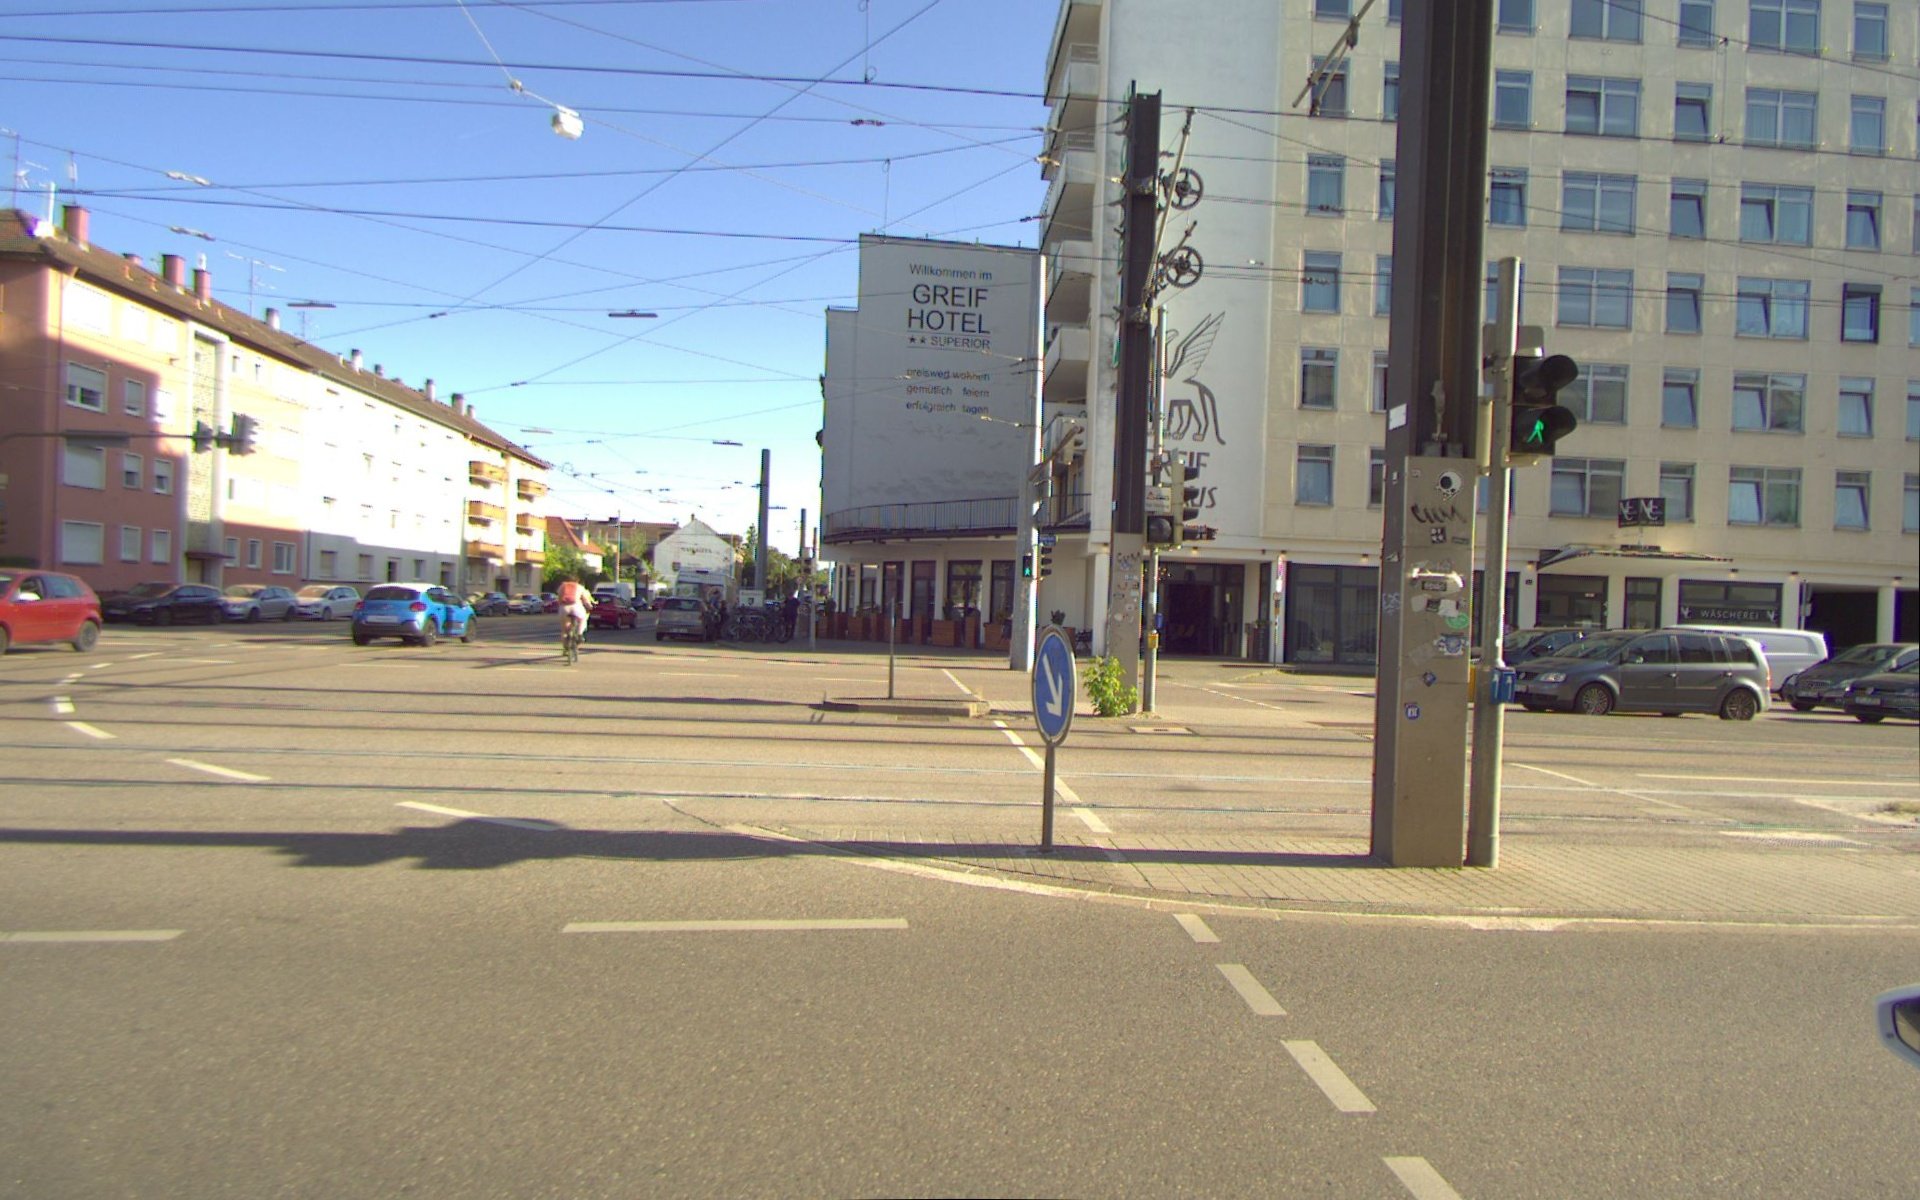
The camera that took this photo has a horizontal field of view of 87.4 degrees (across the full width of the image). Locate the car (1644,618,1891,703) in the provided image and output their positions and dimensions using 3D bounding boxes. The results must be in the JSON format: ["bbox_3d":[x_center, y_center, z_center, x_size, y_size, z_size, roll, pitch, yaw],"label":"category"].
[{"bbox_3d":[21.926,1.620,27.399,5.224,1.894,1.947,3,3,-4],"label":"car"}]

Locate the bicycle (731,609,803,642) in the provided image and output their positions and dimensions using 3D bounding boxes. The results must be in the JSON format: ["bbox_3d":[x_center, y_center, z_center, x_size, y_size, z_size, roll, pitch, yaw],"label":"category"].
[{"bbox_3d":[-6.187,0.806,32.310,2.216,1.015,0.855,1,0,-7],"label":"bicycle"}]

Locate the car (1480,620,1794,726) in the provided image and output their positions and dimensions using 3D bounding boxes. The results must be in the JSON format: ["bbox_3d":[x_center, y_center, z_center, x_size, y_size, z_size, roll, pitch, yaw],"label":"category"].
[{"bbox_3d":[12.142,1.271,18.224,4.366,1.568,1.936,3,-1,-2],"label":"car"}]

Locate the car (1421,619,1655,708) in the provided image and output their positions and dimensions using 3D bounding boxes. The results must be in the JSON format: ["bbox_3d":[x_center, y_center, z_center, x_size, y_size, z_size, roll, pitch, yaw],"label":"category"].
[{"bbox_3d":[12.266,1.329,21.458,3.969,1.596,1.794,3,-1,-5],"label":"car"}]

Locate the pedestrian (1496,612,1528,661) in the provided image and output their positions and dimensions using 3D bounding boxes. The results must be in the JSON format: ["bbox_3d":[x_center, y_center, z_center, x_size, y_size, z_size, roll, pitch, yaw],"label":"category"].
[{"bbox_3d":[16.614,1.094,30.221,0.593,1.394,0.498,4,-1,-18],"label":"pedestrian"}]

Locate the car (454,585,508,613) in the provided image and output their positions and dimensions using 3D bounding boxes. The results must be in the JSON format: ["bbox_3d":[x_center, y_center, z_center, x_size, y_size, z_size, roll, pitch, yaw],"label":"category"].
[{"bbox_3d":[-30.339,-0.053,63.700,1.841,1.597,3.995,4,-1,-7],"label":"car"}]

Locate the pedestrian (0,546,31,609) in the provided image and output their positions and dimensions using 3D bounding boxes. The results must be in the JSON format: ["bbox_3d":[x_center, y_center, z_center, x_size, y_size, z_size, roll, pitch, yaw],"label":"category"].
[{"bbox_3d":[-27.270,-0.645,28.714,0.774,1.744,0.700,4,-1,-25],"label":"pedestrian"}]

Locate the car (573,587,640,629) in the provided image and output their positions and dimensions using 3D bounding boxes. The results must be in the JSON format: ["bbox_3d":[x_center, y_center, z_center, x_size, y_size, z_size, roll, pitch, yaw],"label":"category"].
[{"bbox_3d":[-14.631,0.295,41.751,1.757,1.542,3.758,4,0,-7],"label":"car"}]

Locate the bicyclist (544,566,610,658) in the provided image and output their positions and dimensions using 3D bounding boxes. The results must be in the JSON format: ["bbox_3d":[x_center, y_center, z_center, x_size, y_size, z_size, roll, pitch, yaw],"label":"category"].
[{"bbox_3d":[-7.509,0.240,19.743,0.797,1.714,0.935,4,-1,2],"label":"bicyclist"}]

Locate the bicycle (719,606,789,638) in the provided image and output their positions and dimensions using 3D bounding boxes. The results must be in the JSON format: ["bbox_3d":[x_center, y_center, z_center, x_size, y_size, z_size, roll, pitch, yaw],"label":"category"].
[{"bbox_3d":[-6.876,0.724,33.619,2.216,1.015,0.855,1,0,-7],"label":"bicycle"}]

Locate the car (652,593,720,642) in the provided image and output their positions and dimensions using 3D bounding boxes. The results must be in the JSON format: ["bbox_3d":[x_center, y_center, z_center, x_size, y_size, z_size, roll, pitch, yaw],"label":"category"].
[{"bbox_3d":[-9.262,0.566,34.194,1.633,1.450,3.883,4,-1,-8],"label":"car"}]

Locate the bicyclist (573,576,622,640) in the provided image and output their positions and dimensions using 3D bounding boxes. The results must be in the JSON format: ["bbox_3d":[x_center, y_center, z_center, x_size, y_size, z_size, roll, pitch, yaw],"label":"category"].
[{"bbox_3d":[-10.194,0.231,28.287,0.926,1.695,1.079,4,-1,-3],"label":"bicyclist"}]

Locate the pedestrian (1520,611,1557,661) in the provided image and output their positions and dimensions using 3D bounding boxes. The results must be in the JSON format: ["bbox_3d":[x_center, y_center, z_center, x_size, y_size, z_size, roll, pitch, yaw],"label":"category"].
[{"bbox_3d":[16.959,1.044,29.446,0.522,1.394,0.681,4,-1,-25],"label":"pedestrian"}]

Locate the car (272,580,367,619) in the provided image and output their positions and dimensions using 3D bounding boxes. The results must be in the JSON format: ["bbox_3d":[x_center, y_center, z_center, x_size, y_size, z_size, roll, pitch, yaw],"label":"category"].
[{"bbox_3d":[-28.474,-0.002,44.810,1.715,1.546,4.226,4,-1,-5],"label":"car"}]

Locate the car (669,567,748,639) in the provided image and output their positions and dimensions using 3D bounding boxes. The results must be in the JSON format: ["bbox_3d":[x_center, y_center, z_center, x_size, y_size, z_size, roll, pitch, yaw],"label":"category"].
[{"bbox_3d":[-9.708,0.124,39.166,2.231,2.514,5.002,3,-1,-7],"label":"car"}]

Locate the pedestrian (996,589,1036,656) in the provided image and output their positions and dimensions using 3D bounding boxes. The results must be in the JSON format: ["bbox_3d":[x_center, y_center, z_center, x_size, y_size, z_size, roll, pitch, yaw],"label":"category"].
[{"bbox_3d":[1.548,0.619,28.070,0.893,1.769,0.736,4,0,-6],"label":"pedestrian"}]

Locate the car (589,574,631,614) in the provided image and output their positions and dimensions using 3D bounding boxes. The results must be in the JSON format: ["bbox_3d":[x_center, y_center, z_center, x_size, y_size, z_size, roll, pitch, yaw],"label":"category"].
[{"bbox_3d":[-29.865,-0.479,85.773,2.380,3.183,3.486,4,-1,-5],"label":"car"}]

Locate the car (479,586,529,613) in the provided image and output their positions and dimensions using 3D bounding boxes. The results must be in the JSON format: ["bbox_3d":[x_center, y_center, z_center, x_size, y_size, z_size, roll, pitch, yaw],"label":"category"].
[{"bbox_3d":[-30.830,-0.030,68.008,1.841,1.597,3.995,4,-1,-7],"label":"car"}]

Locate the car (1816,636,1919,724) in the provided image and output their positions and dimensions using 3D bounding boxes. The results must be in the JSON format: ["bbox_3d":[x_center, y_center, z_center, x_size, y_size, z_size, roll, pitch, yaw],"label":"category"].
[{"bbox_3d":[19.001,1.572,18.775,4.453,1.511,1.824,3,-1,-2],"label":"car"}]

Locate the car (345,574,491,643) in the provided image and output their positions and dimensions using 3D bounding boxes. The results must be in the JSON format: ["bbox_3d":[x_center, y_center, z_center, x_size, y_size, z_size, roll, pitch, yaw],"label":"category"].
[{"bbox_3d":[-13.245,0.205,24.788,1.709,1.471,3.661,3,-1,-3],"label":"car"}]

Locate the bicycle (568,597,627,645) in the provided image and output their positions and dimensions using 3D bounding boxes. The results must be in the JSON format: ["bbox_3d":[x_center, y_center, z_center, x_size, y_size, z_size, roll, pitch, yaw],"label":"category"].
[{"bbox_3d":[-10.210,0.584,28.366,0.926,1.239,2.093,4,-1,-3],"label":"bicycle"}]

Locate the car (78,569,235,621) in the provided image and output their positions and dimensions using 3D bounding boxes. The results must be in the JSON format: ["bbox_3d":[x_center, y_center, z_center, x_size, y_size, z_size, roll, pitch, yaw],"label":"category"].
[{"bbox_3d":[-27.668,-0.120,34.815,2.121,1.450,4.436,4,-2,-7],"label":"car"}]

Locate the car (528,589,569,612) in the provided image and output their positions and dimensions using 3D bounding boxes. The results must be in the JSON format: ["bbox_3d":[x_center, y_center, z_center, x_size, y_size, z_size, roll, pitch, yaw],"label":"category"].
[{"bbox_3d":[-31.930,0.026,78.091,1.841,1.597,3.995,4,-1,-7],"label":"car"}]

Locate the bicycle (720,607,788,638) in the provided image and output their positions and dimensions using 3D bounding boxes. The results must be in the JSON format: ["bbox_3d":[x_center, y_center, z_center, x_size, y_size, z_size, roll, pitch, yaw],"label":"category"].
[{"bbox_3d":[-7.118,0.781,34.721,2.216,1.015,0.855,1,0,-7],"label":"bicycle"}]

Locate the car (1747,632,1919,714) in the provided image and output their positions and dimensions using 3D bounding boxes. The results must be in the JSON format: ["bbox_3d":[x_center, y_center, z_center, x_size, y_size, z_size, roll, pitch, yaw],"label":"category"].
[{"bbox_3d":[20.509,1.649,22.540,4.241,1.596,1.988,3,-1,-5],"label":"car"}]

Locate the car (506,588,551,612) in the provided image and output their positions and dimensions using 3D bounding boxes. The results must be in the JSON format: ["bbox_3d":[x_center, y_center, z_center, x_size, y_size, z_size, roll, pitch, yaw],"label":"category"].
[{"bbox_3d":[-31.352,0.001,73.086,1.841,1.597,3.995,4,-1,-7],"label":"car"}]

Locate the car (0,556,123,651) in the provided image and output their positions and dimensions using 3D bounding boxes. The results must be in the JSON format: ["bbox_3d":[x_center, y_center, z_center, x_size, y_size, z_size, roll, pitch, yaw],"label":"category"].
[{"bbox_3d":[-16.336,0.026,16.942,1.753,1.505,3.820,2,0,-11],"label":"car"}]

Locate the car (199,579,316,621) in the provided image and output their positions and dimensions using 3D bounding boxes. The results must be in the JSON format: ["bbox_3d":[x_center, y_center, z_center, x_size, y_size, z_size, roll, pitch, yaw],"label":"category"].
[{"bbox_3d":[-27.878,0.009,40.012,1.874,1.455,4.100,4,-1,-4],"label":"car"}]

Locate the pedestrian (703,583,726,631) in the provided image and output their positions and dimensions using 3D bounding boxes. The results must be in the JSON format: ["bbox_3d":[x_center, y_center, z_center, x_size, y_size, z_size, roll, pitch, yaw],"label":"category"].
[{"bbox_3d":[-8.860,0.242,36.296,0.603,1.675,0.670,4,0,-7],"label":"pedestrian"}]

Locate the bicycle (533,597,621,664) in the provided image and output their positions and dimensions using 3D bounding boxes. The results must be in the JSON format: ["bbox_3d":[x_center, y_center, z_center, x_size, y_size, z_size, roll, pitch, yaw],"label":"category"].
[{"bbox_3d":[-7.531,0.584,19.857,0.797,1.197,2.065,4,-1,2],"label":"bicycle"}]
